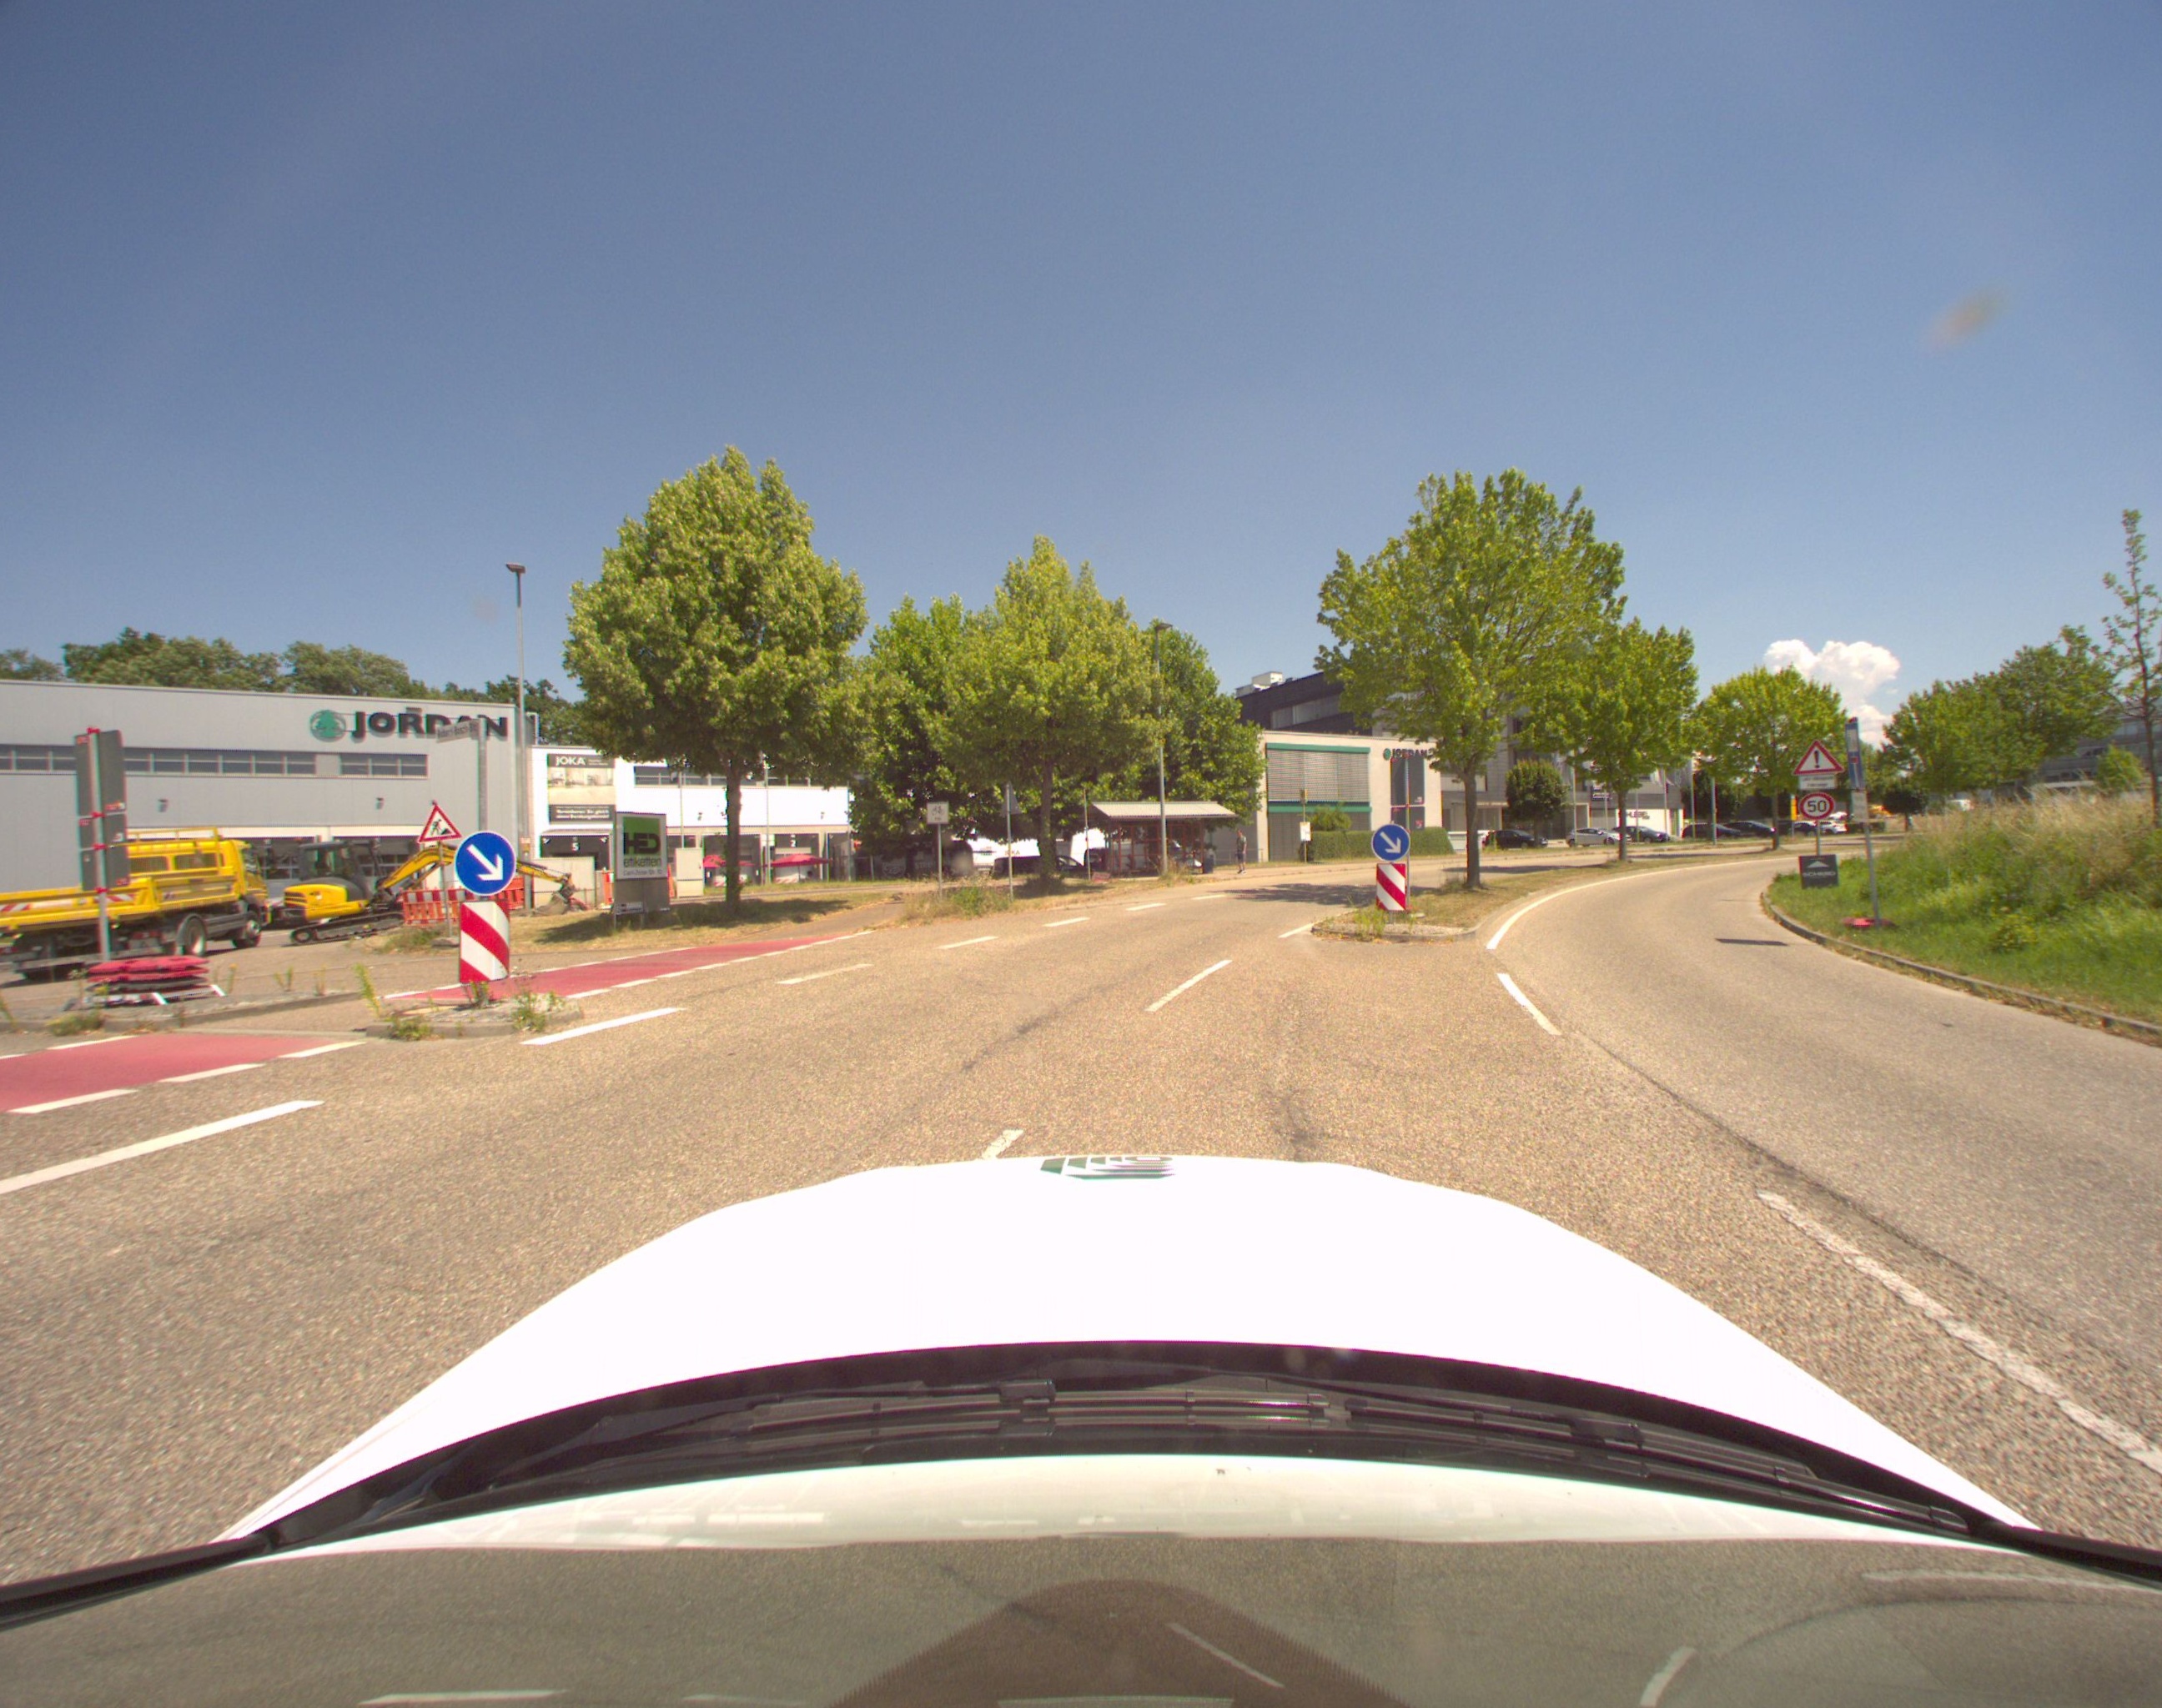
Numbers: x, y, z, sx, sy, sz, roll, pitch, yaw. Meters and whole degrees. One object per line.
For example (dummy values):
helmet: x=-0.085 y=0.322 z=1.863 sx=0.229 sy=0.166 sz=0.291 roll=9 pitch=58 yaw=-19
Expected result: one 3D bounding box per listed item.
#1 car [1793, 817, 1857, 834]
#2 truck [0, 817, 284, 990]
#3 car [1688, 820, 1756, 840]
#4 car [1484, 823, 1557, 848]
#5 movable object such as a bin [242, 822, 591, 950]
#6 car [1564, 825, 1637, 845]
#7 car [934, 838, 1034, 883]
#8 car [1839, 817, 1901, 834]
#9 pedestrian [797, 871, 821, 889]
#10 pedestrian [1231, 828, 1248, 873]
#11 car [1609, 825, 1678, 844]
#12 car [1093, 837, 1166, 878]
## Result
car: x=65.891 y=-2.508 z=72.189 sx=1.709 sy=1.274 sz=3.858 roll=-3 pitch=0 yaw=-27
truck: x=-21.236 y=0.879 z=18.560 sx=2.604 sy=3.135 sz=6.363 roll=-5 pitch=3 yaw=-30
car: x=50.731 y=-1.879 z=64.496 sx=1.709 sy=1.274 sz=3.858 roll=-3 pitch=0 yaw=-27
car: x=28.871 y=-1.198 z=53.637 sx=1.709 sy=1.379 sz=3.883 roll=-3 pitch=0 yaw=-27
movable object such as a bin: x=-16.867 y=0.732 z=21.227 sx=6.582 sy=2.581 sz=1.986 roll=-5 pitch=0 yaw=-21
car: x=37.177 y=-1.311 z=58.396 sx=1.497 sy=1.183 sz=4.238 roll=0 pitch=-2 yaw=-27
car: x=-4.342 y=0.279 z=36.335 sx=4.006 sy=1.728 sz=1.825 roll=-3 pitch=0 yaw=-25
car: x=72.534 y=-2.620 z=74.916 sx=1.613 sy=1.274 sz=3.810 roll=-3 pitch=0 yaw=-27
pedestrian: x=-11.631 y=1.104 z=34.829 sx=0.862 sy=0.695 sz=0.407 roll=-3 pitch=0 yaw=-3
pedestrian: x=5.982 y=-0.122 z=30.787 sx=0.527 sy=1.670 sz=0.579 roll=-1 pitch=-2 yaw=1
car: x=41.918 y=-1.423 z=60.770 sx=1.709 sy=1.182 sz=3.858 roll=-3 pitch=0 yaw=-27
car: x=2.549 y=0.247 z=43.652 sx=1.556 sy=2.014 sz=4.217 roll=1 pitch=-3 yaw=-37
